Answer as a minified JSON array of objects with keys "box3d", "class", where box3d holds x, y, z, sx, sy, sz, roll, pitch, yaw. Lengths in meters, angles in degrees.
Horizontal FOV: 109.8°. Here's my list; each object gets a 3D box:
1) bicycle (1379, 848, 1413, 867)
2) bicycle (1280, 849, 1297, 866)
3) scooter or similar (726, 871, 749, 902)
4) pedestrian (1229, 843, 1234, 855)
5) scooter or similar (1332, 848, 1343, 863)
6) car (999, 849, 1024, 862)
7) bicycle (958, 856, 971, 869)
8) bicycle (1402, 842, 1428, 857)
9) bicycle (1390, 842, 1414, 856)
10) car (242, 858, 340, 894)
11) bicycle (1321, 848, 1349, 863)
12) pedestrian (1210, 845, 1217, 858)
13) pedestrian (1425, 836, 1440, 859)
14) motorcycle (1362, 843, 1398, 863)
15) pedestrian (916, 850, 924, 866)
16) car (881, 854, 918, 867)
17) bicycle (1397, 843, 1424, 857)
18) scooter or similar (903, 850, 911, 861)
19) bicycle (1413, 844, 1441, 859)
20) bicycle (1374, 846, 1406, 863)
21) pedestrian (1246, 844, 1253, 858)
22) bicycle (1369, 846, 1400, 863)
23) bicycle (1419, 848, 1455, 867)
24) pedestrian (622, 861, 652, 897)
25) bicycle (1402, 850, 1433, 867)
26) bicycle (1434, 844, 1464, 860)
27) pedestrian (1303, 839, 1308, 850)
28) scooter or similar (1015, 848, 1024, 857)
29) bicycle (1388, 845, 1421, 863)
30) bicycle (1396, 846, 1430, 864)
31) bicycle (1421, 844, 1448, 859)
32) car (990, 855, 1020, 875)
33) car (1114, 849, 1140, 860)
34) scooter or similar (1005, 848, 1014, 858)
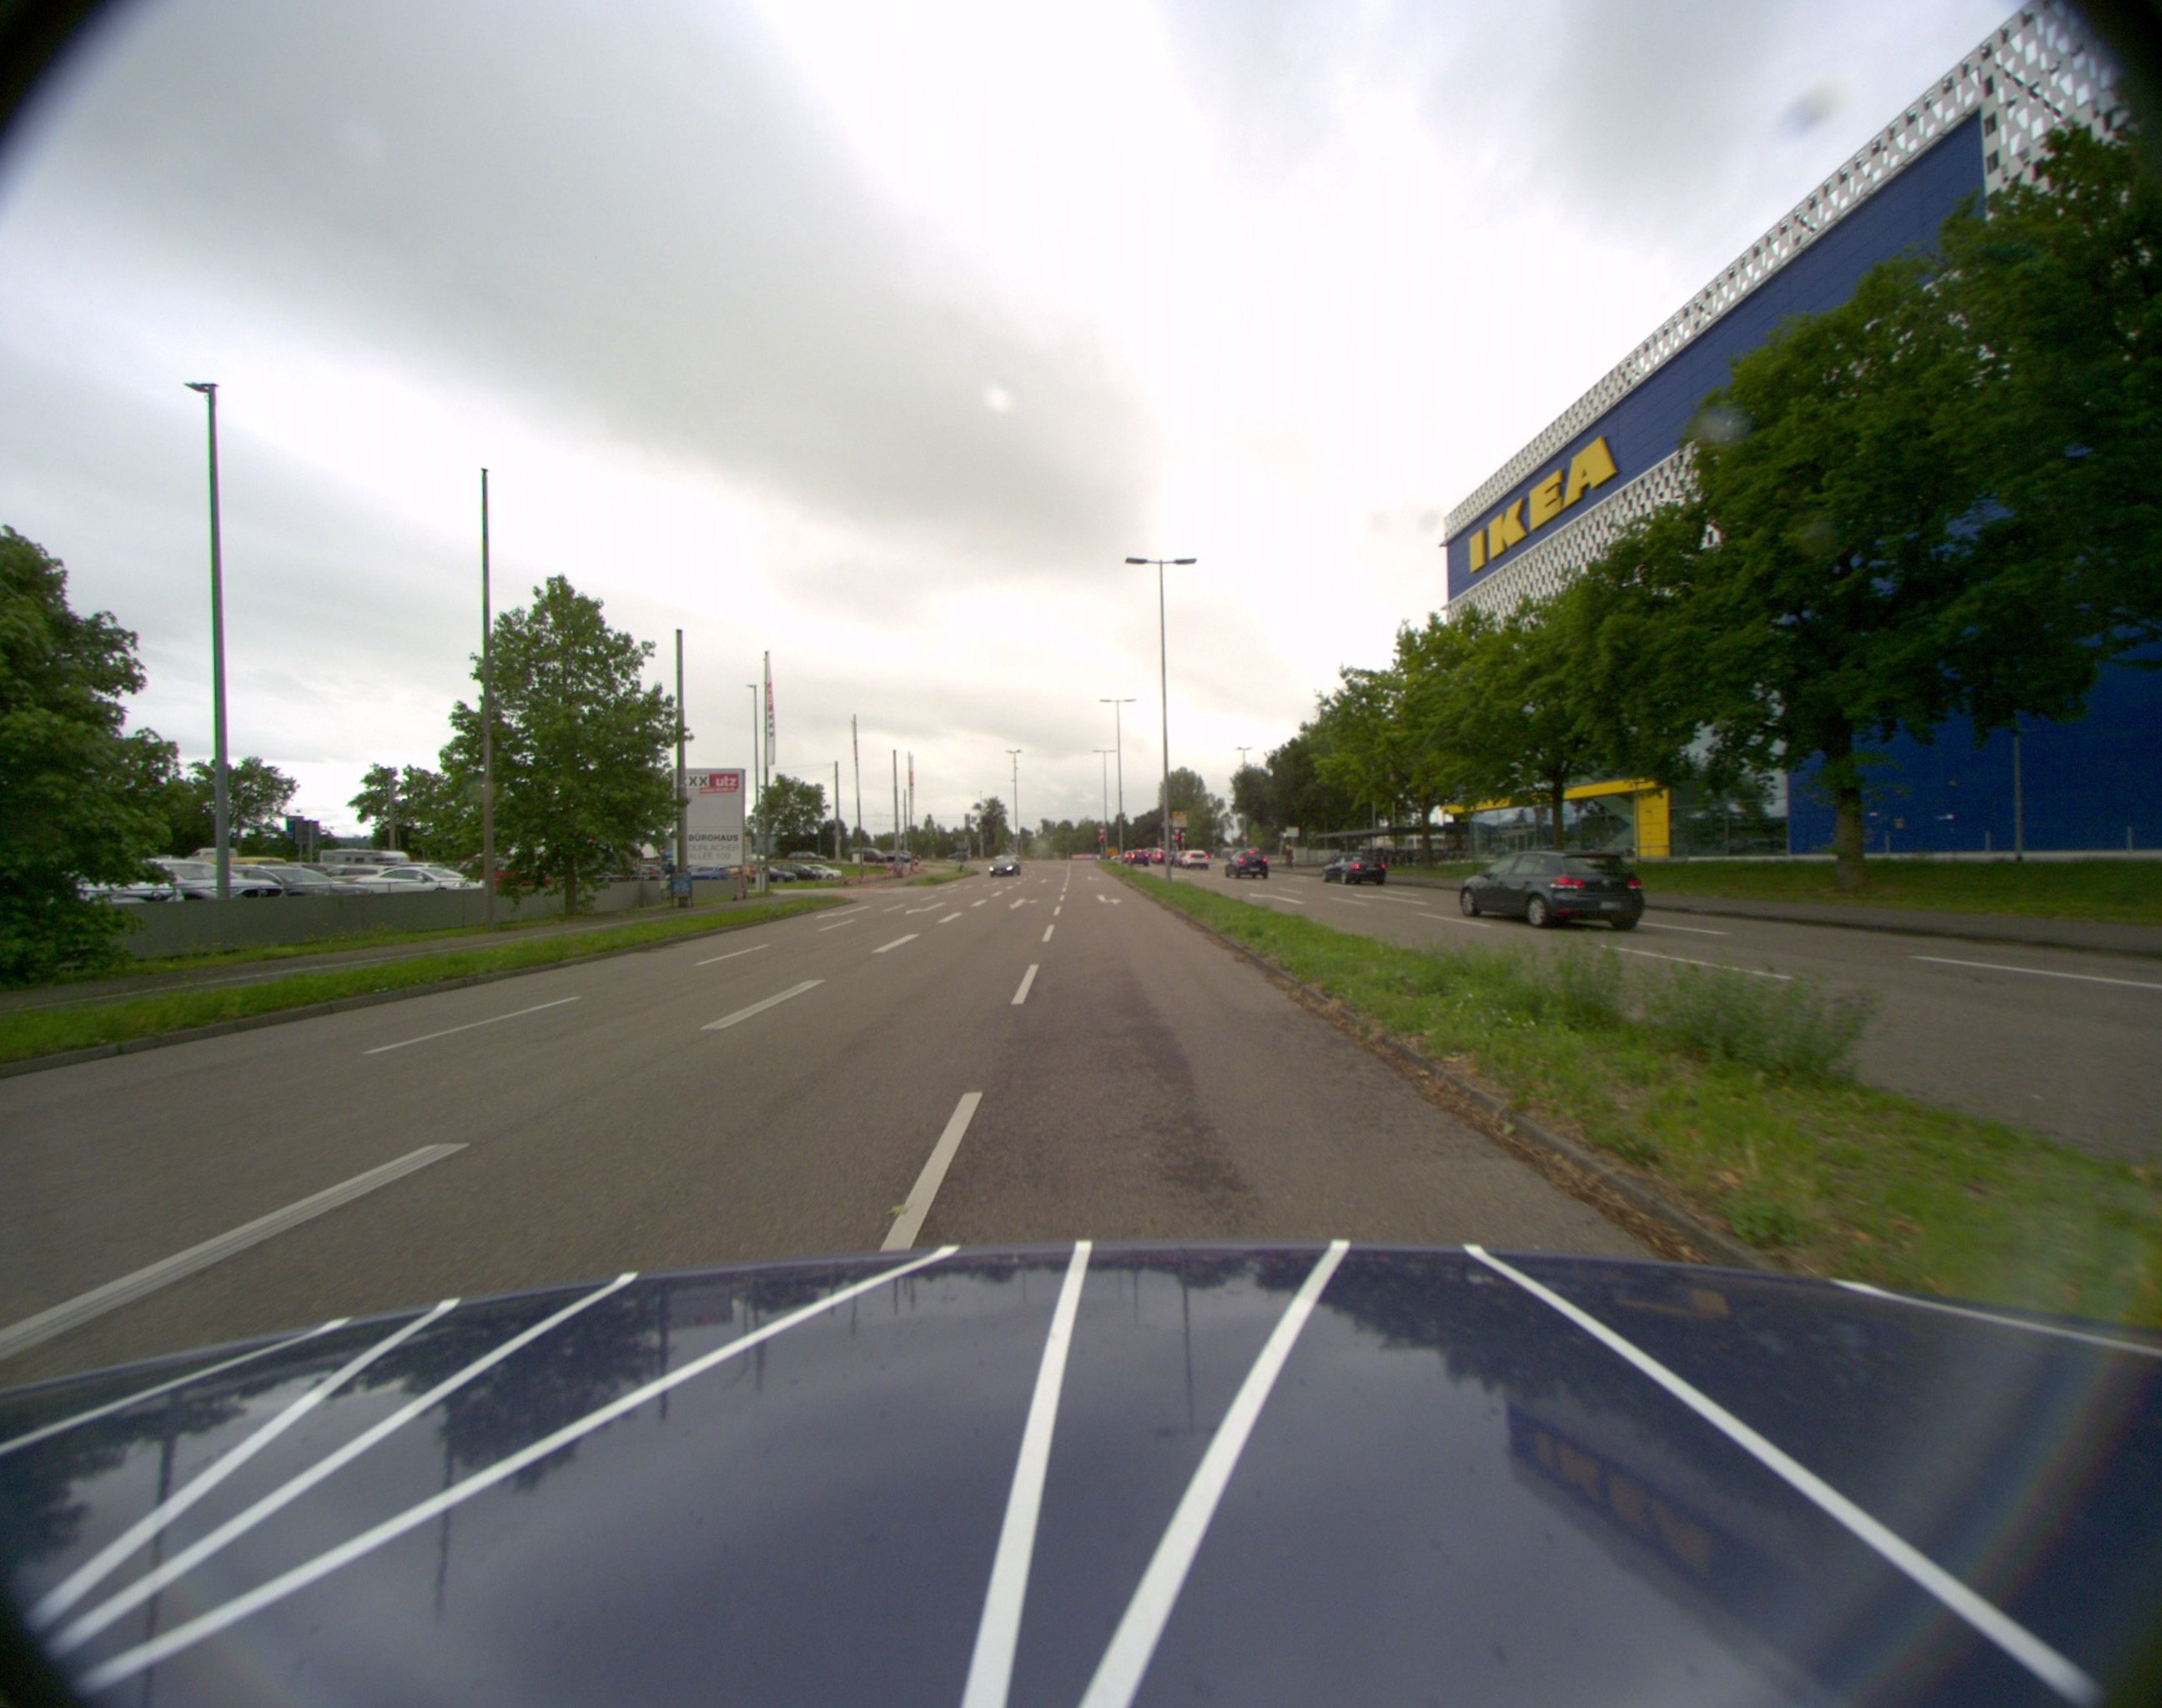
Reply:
[{"box3d":[21.095,0.258,50.892,2.018,1.150,0.594,-3,1,14],"class":"bicycle"},{"box3d":[15.838,0.241,58.113,0.644,1.243,2.056,-3,0,0],"class":"bicycle"},{"box3d":[-13.879,1.292,30.731,0.371,1.184,1.248,-1,0,0],"class":"scooter or similar"},{"box3d":[21.045,-0.670,106.256,0.675,1.702,0.766,-1,1,4],"class":"pedestrian"},{"box3d":[20.272,0.111,60.064,0.358,1.178,1.295,-2,1,38],"class":"scooter or similar"},{"box3d":[-11.732,0.210,127.878,4.000,2.002,1.946,-2,1,-9],"class":"car"},{"box3d":[-10.212,0.759,66.626,0.664,1.042,1.692,-1,1,6],"class":"bicycle"},{"box3d":[28.806,-0.371,65.545,2.021,1.150,0.593,-3,1,-2],"class":"bicycle"},{"box3d":[28.717,-0.405,68.065,2.023,1.150,0.593,-3,1,-16],"class":"bicycle"},{"box3d":[-49.017,1.323,47.209,3.997,2.036,1.883,-2,1,0],"class":"car"},{"box3d":[20.352,0.142,60.798,2.021,1.150,0.593,-2,1,0],"class":"bicycle"},{"box3d":[17.918,-0.346,102.646,0.664,1.756,0.686,2,4,-3],"class":"pedestrian"},{"box3d":[26.802,-0.505,57.949,0.679,1.735,0.808,-2,0,0],"class":"pedestrian"},{"box3d":[22.825,-0.082,58.082,2.500,1.347,0.799,-3,1,-12],"class":"motorcycle"},{"box3d":[-16.437,0.428,77.580,0.717,1.589,0.782,-1,3,-10],"class":"pedestrian"},{"box3d":[-23.331,0.837,97.817,4.200,1.455,1.839,-2,1,12],"class":"car"},{"box3d":[28.914,-0.379,66.673,2.021,1.150,0.593,-3,1,-2],"class":"bicycle"},{"box3d":[-18.639,0.150,81.320,0.347,1.226,1.162,-4,3,-38],"class":"scooter or similar"},{"box3d":[28.754,-0.208,63.215,2.021,1.150,0.593,-3,1,-2],"class":"bicycle"},{"box3d":[22.323,0.040,54.880,2.021,1.150,0.593,-3,1,0],"class":"bicycle"},{"box3d":[20.108,-0.385,90.596,0.635,1.633,0.809,-1,3,-3],"class":"pedestrian"},{"box3d":[22.692,0.024,56.813,2.021,1.150,0.593,-3,1,0],"class":"bicycle"},{"box3d":[22.924,0.246,48.951,2.020,1.116,0.594,-3,1,2],"class":"bicycle"},{"box3d":[-21.817,1.226,37.323,0.942,1.709,0.885,-1,-1,-1],"class":"pedestrian"},{"box3d":[22.639,0.286,51.137,1.814,1.076,0.593,-3,1,0],"class":"bicycle"},{"box3d":[28.840,-0.163,59.539,2.022,1.150,0.593,-3,1,-6],"class":"bicycle"},{"box3d":[35.345,-1.442,119.763,0.586,1.731,0.788,-1,-1,2],"class":"pedestrian"},{"box3d":[-7.963,-0.203,98.441,1.016,1.249,0.465,0,2,13],"class":"scooter or similar"},{"box3d":[22.894,0.000,53.776,2.021,1.150,0.593,-3,1,0],"class":"bicycle"},{"box3d":[22.918,0.070,52.475,2.021,1.150,0.593,-3,1,0],"class":"bicycle"},{"box3d":[28.700,-0.214,61.719,2.023,1.150,0.593,-3,1,-13],"class":"bicycle"},{"box3d":[-5.973,0.836,60.178,1.999,1.383,4.342,-1,1,-2],"class":"car"},{"box3d":[7.757,0.155,128.694,4.080,1.723,1.777,-1,-1,-4],"class":"car"},{"box3d":[-9.243,-0.089,97.974,1.113,1.249,0.321,0,3,12],"class":"scooter or similar"}]
